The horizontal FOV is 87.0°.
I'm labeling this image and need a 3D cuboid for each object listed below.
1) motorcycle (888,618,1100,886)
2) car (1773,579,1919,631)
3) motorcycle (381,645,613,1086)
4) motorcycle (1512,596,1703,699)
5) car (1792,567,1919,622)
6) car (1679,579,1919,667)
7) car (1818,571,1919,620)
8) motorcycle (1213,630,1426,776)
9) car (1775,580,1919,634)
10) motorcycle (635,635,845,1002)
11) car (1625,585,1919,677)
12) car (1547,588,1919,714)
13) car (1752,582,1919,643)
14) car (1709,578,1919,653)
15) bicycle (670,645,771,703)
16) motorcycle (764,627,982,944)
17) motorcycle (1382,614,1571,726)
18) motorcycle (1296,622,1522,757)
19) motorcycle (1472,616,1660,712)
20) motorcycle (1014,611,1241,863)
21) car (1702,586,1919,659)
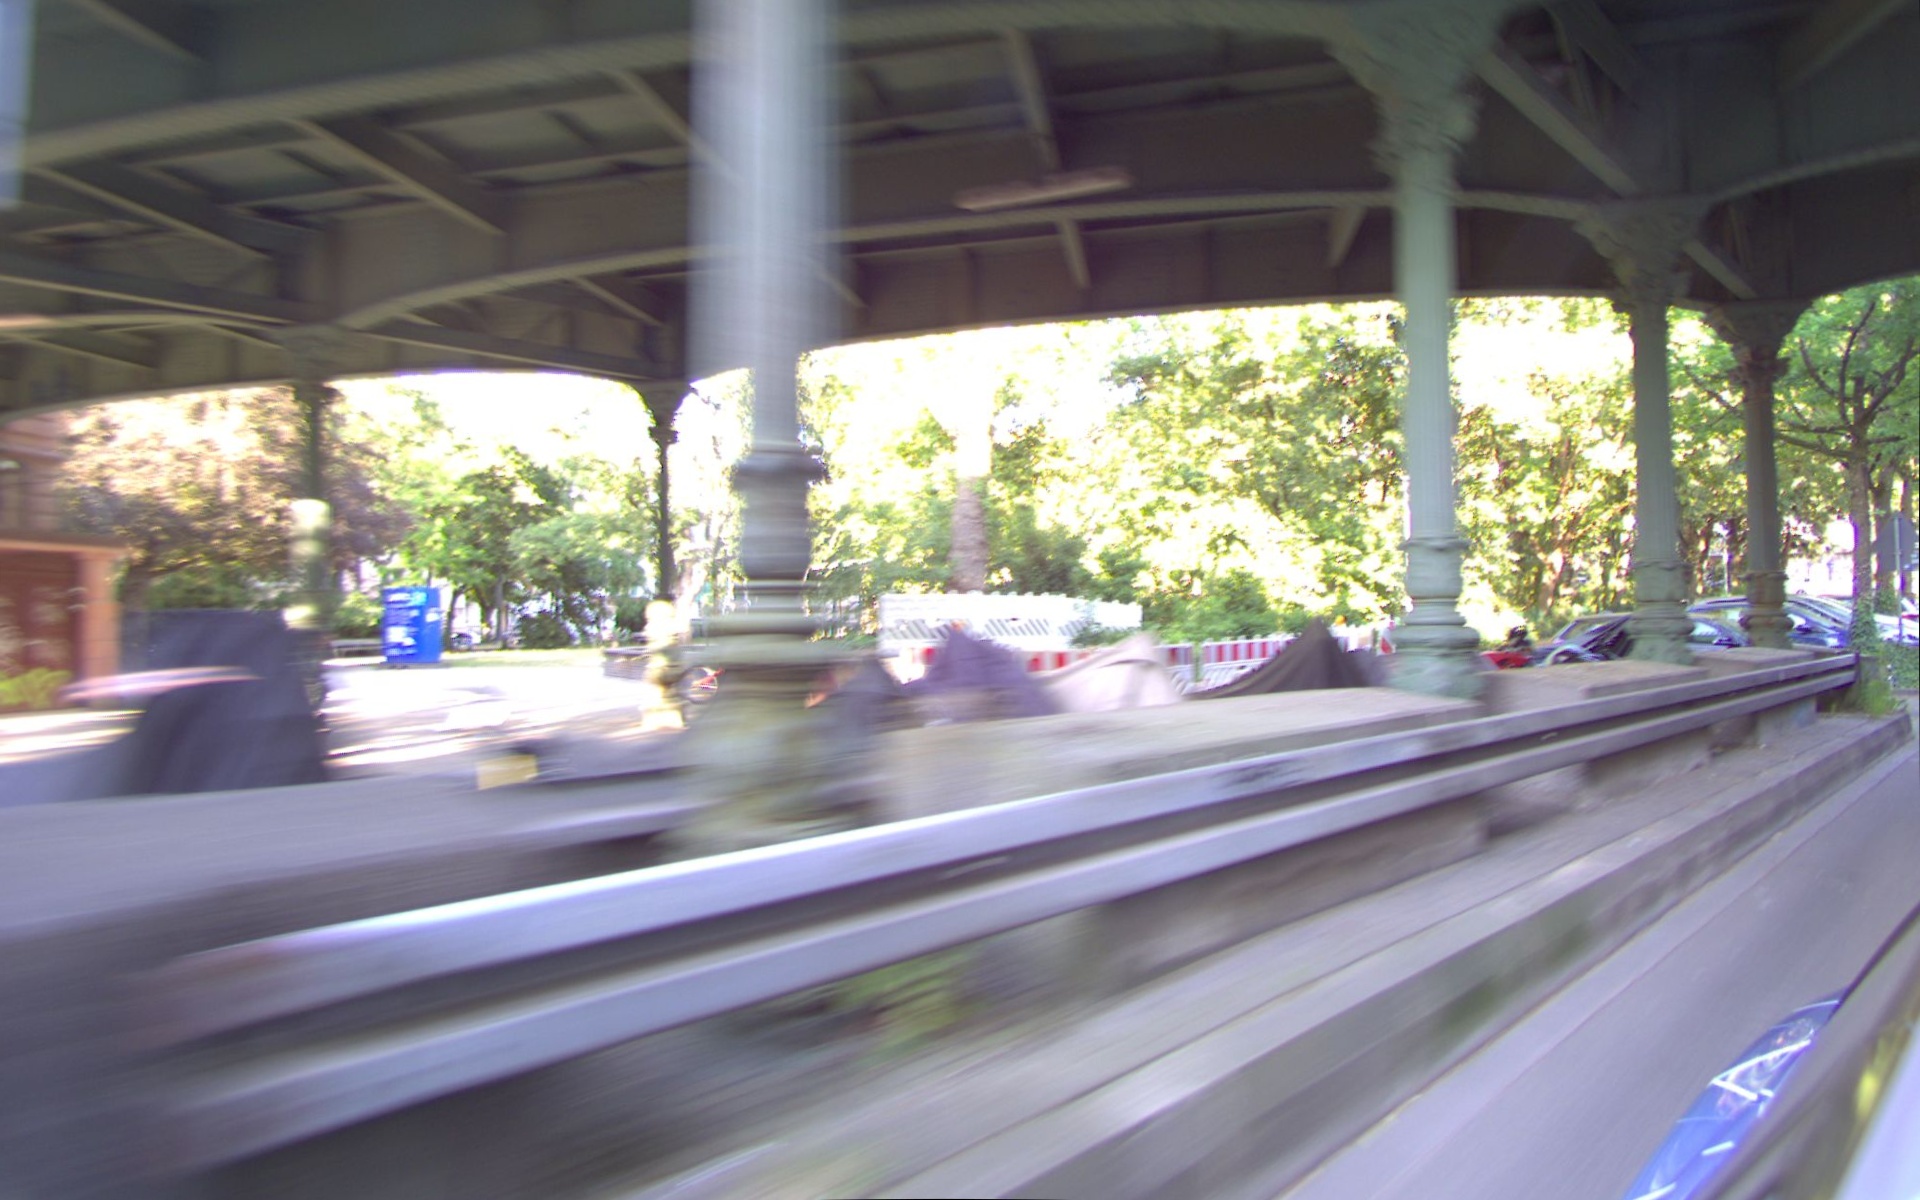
[{"bbox_3d":[0.148,0.856,6.407,0.698,1.426,1.608,-2,-1,-22],"label":"motorcycle"},{"bbox_3d":[30.552,0.189,34.603,1.636,1.594,3.994,-2,-1,-39],"label":"car"},{"bbox_3d":[-1.913,0.937,4.311,0.698,1.426,1.608,-2,-1,-22],"label":"motorcycle"},{"bbox_3d":[8.422,0.620,13.283,1.914,1.254,0.897,-3,-1,24],"label":"motorcycle"},{"bbox_3d":[34.123,-0.248,37.670,1.841,1.948,4.676,-2,2,-43],"label":"car"},{"bbox_3d":[18.585,0.517,22.117,4.373,1.730,1.877,-4,-1,44],"label":"car"},{"bbox_3d":[36.130,-0.194,39.245,1.766,1.780,3.996,-2,-1,-38],"label":"car"},{"bbox_3d":[3.130,0.873,8.855,1.592,1.147,0.704,-3,-1,32],"label":"motorcycle"},{"bbox_3d":[29.082,0.242,32.760,1.561,1.594,3.989,-2,-1,-43],"label":"car"},{"bbox_3d":[-1.140,0.905,4.939,0.698,1.426,1.608,-2,-1,-22],"label":"motorcycle"},{"bbox_3d":[16.451,0.596,20.563,1.703,1.626,4.597,-2,0,-38],"label":"car"},{"bbox_3d":[11.550,0.746,15.226,1.647,1.597,4.377,-2,-1,-43],"label":"car"},{"bbox_3d":[25.516,0.381,29.151,1.561,1.594,4.023,-2,-1,-43],"label":"car"},{"bbox_3d":[22.061,0.405,25.713,1.876,1.717,4.535,-2,-1,-43],"label":"car"},{"bbox_3d":[-3.984,1.219,16.818,1.593,0.869,0.521,1,0,17],"label":"bicycle"},{"bbox_3d":[-0.546,0.882,5.557,0.698,1.426,1.608,-2,-1,-22],"label":"motorcycle"},{"bbox_3d":[5.718,0.770,11.317,1.701,1.147,0.709,-3,-1,15],"label":"motorcycle"},{"bbox_3d":[4.193,0.827,9.552,1.818,1.147,0.843,-3,-1,25],"label":"motorcycle"},{"bbox_3d":[7.213,0.756,12.141,1.701,1.043,0.809,-3,-1,14],"label":"motorcycle"},{"bbox_3d":[1.043,0.815,6.742,0.698,1.426,1.608,-2,-1,-22],"label":"motorcycle"},{"bbox_3d":[20.369,0.552,23.827,1.845,1.552,4.377,-2,-1,-43],"label":"car"}]
